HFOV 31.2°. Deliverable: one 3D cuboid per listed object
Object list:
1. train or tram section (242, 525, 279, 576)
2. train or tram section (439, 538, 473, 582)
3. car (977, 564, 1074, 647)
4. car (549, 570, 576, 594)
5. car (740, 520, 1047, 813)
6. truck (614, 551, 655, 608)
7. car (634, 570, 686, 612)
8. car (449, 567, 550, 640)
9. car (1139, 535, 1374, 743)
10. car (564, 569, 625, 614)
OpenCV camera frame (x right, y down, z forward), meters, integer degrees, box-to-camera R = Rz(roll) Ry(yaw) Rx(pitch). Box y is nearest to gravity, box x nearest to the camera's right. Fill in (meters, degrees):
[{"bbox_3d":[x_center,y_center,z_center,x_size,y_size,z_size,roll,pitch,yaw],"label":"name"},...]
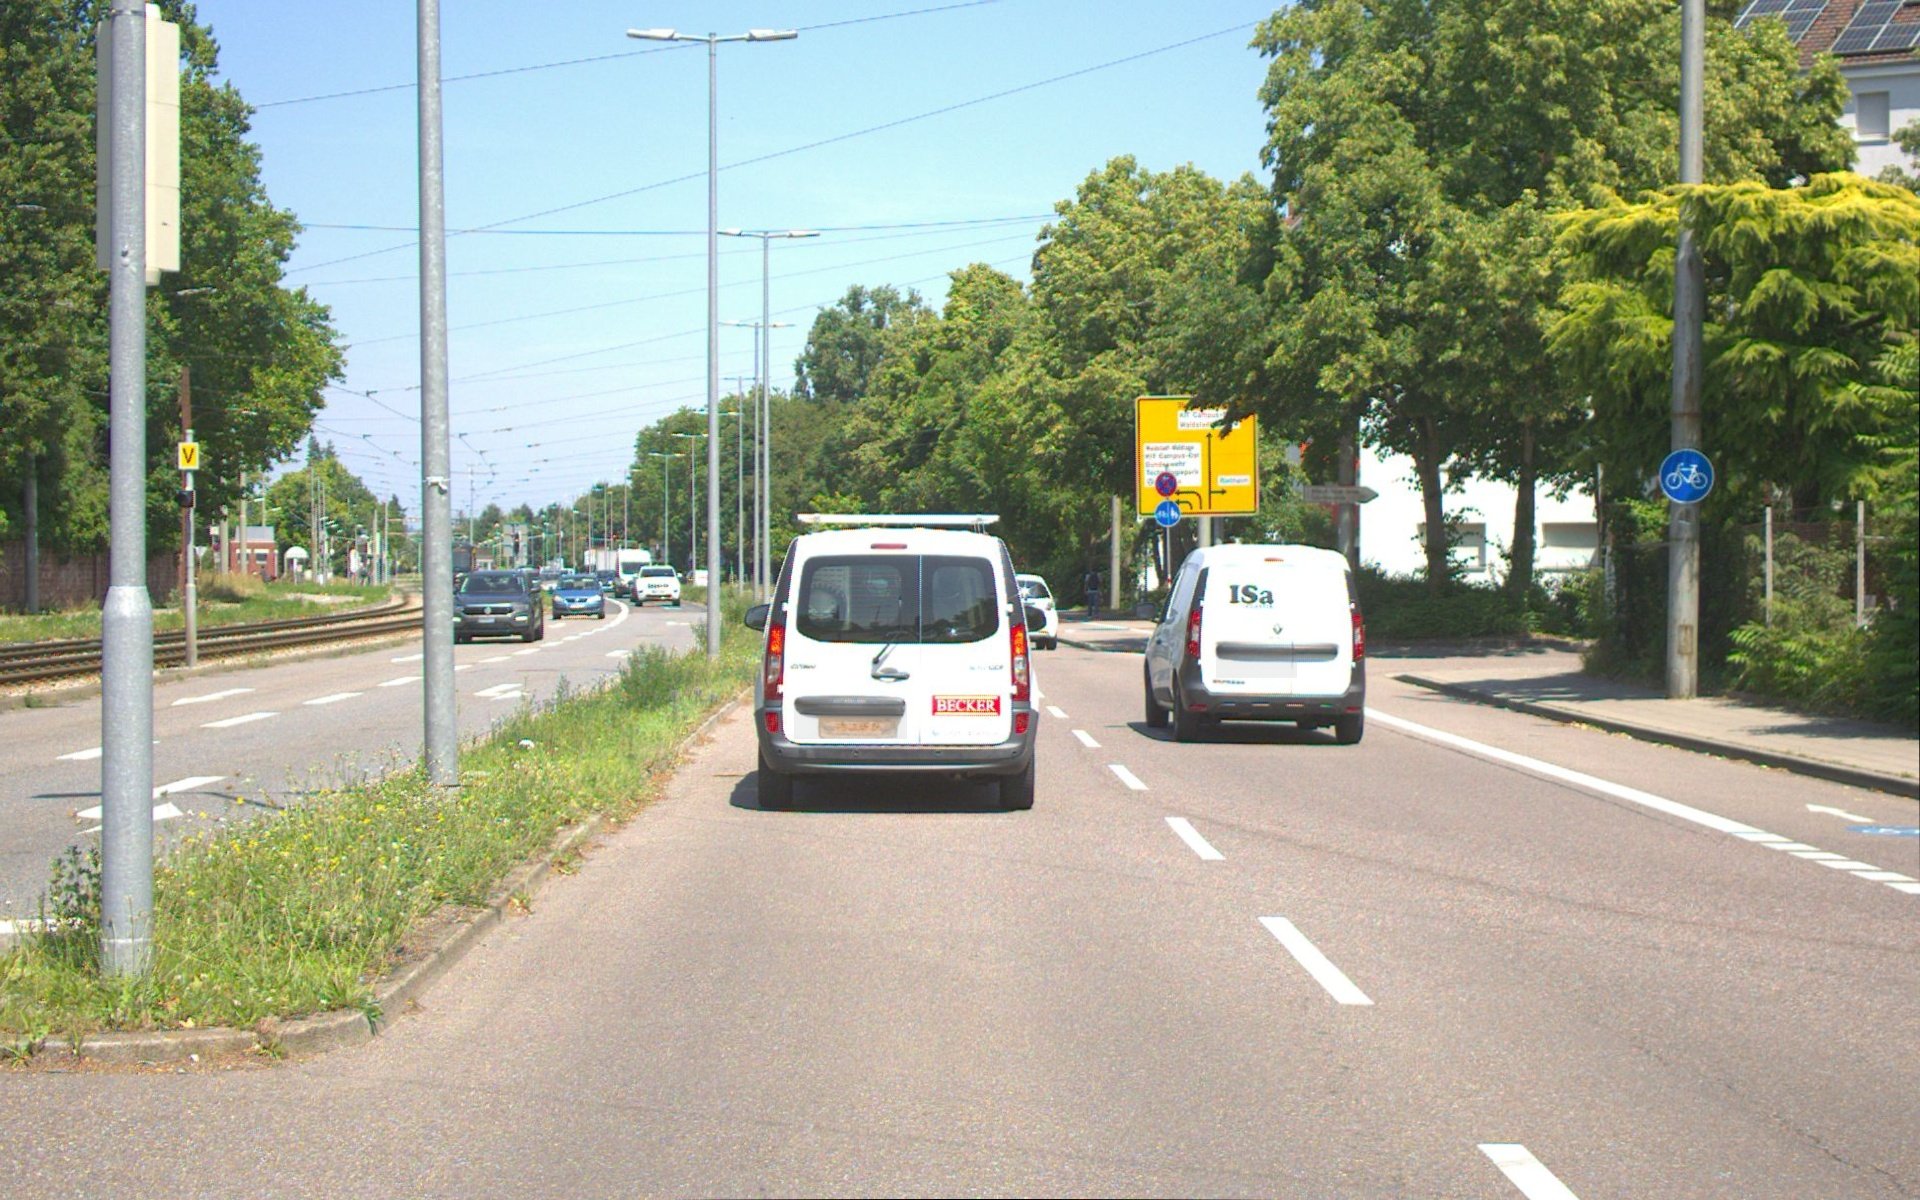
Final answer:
[{"bbox_3d":[-50.503,-3.527,248.391,1.993,3.511,16.171,2,0,-10],"label":"train or tram section"},{"bbox_3d":[-36.637,-2.879,249.696,1.993,3.076,16.171,2,0,-10],"label":"train or tram section"},{"bbox_3d":[1.310,0.094,70.267,1.835,1.563,4.000,2,1,0],"label":"car"},{"bbox_3d":[-27.322,-1.227,236.211,1.746,1.562,4.001,2,0,-6],"label":"car"},{"bbox_3d":[-0.413,0.377,23.039,1.821,1.734,4.396,1,1,0],"label":"car"},{"bbox_3d":[-18.591,-1.188,196.517,1.993,3.203,5.312,0,1,-1],"label":"truck"},{"bbox_3d":[-13.098,-0.403,150.114,1.993,1.809,4.000,0,1,-1],"label":"car"},{"bbox_3d":[-9.822,0.049,73.570,1.697,1.507,4.066,0,1,-1],"label":"car"},{"bbox_3d":[2.720,0.327,32.372,1.727,1.782,4.064,2,0,-1],"label":"car"},{"bbox_3d":[-11.806,-0.289,111.187,1.697,1.434,4.000,-1,0,-3],"label":"car"}]
